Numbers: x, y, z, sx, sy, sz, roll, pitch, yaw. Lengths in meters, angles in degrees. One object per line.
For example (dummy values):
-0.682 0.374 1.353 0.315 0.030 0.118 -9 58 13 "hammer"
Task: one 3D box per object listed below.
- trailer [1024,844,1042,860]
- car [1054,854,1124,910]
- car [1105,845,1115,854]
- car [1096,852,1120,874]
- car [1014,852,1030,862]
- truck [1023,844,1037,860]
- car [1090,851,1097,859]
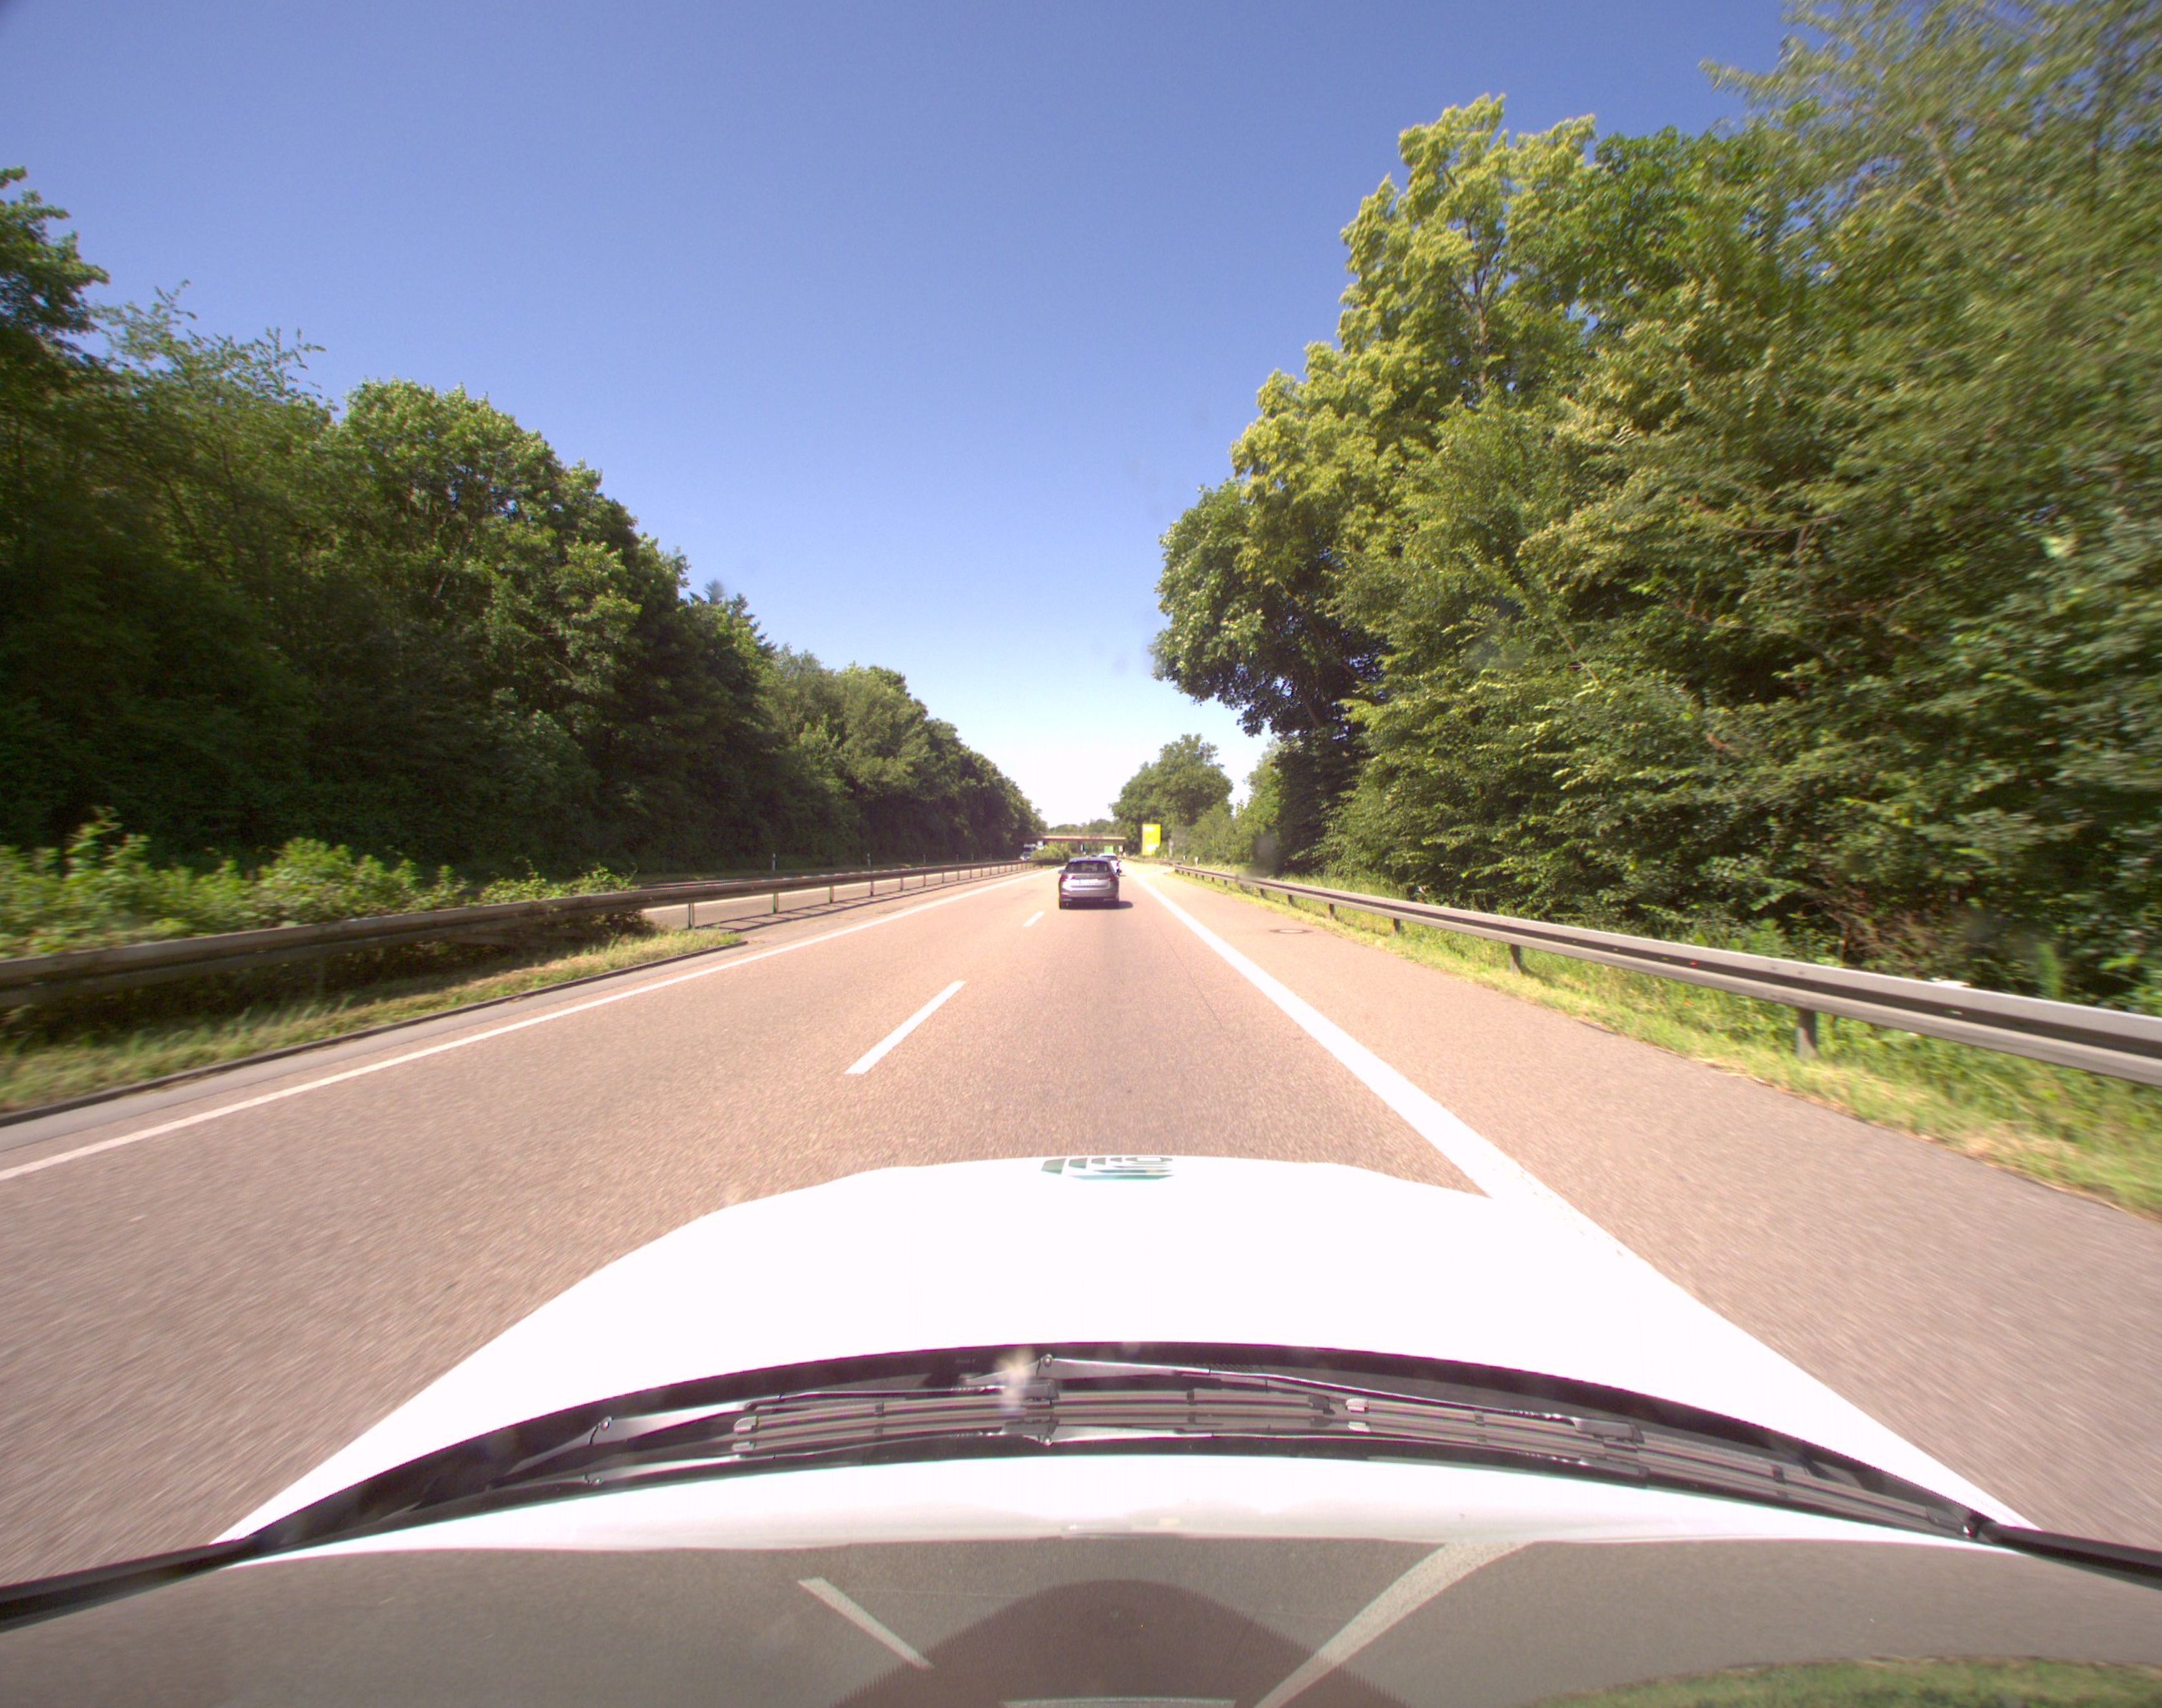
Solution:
-10.019 -0.322 172.102 2.483 3.235 14.439 0 0 2 "trailer"
0.302 0.753 23.569 1.832 1.472 3.627 0 0 3 "car"
8.562 -1.389 241.787 2.738 2.654 4.002 0 0 2 "car"
1.911 0.623 56.888 1.516 1.446 3.343 0 0 4 "car"
-9.266 0.501 128.514 1.834 1.510 4.557 0 0 4 "car"
-10.301 -0.364 165.092 2.415 3.258 4.002 0 0 2 "truck"
3.576 0.285 229.238 1.986 2.013 4.002 0 0 2 "car"
